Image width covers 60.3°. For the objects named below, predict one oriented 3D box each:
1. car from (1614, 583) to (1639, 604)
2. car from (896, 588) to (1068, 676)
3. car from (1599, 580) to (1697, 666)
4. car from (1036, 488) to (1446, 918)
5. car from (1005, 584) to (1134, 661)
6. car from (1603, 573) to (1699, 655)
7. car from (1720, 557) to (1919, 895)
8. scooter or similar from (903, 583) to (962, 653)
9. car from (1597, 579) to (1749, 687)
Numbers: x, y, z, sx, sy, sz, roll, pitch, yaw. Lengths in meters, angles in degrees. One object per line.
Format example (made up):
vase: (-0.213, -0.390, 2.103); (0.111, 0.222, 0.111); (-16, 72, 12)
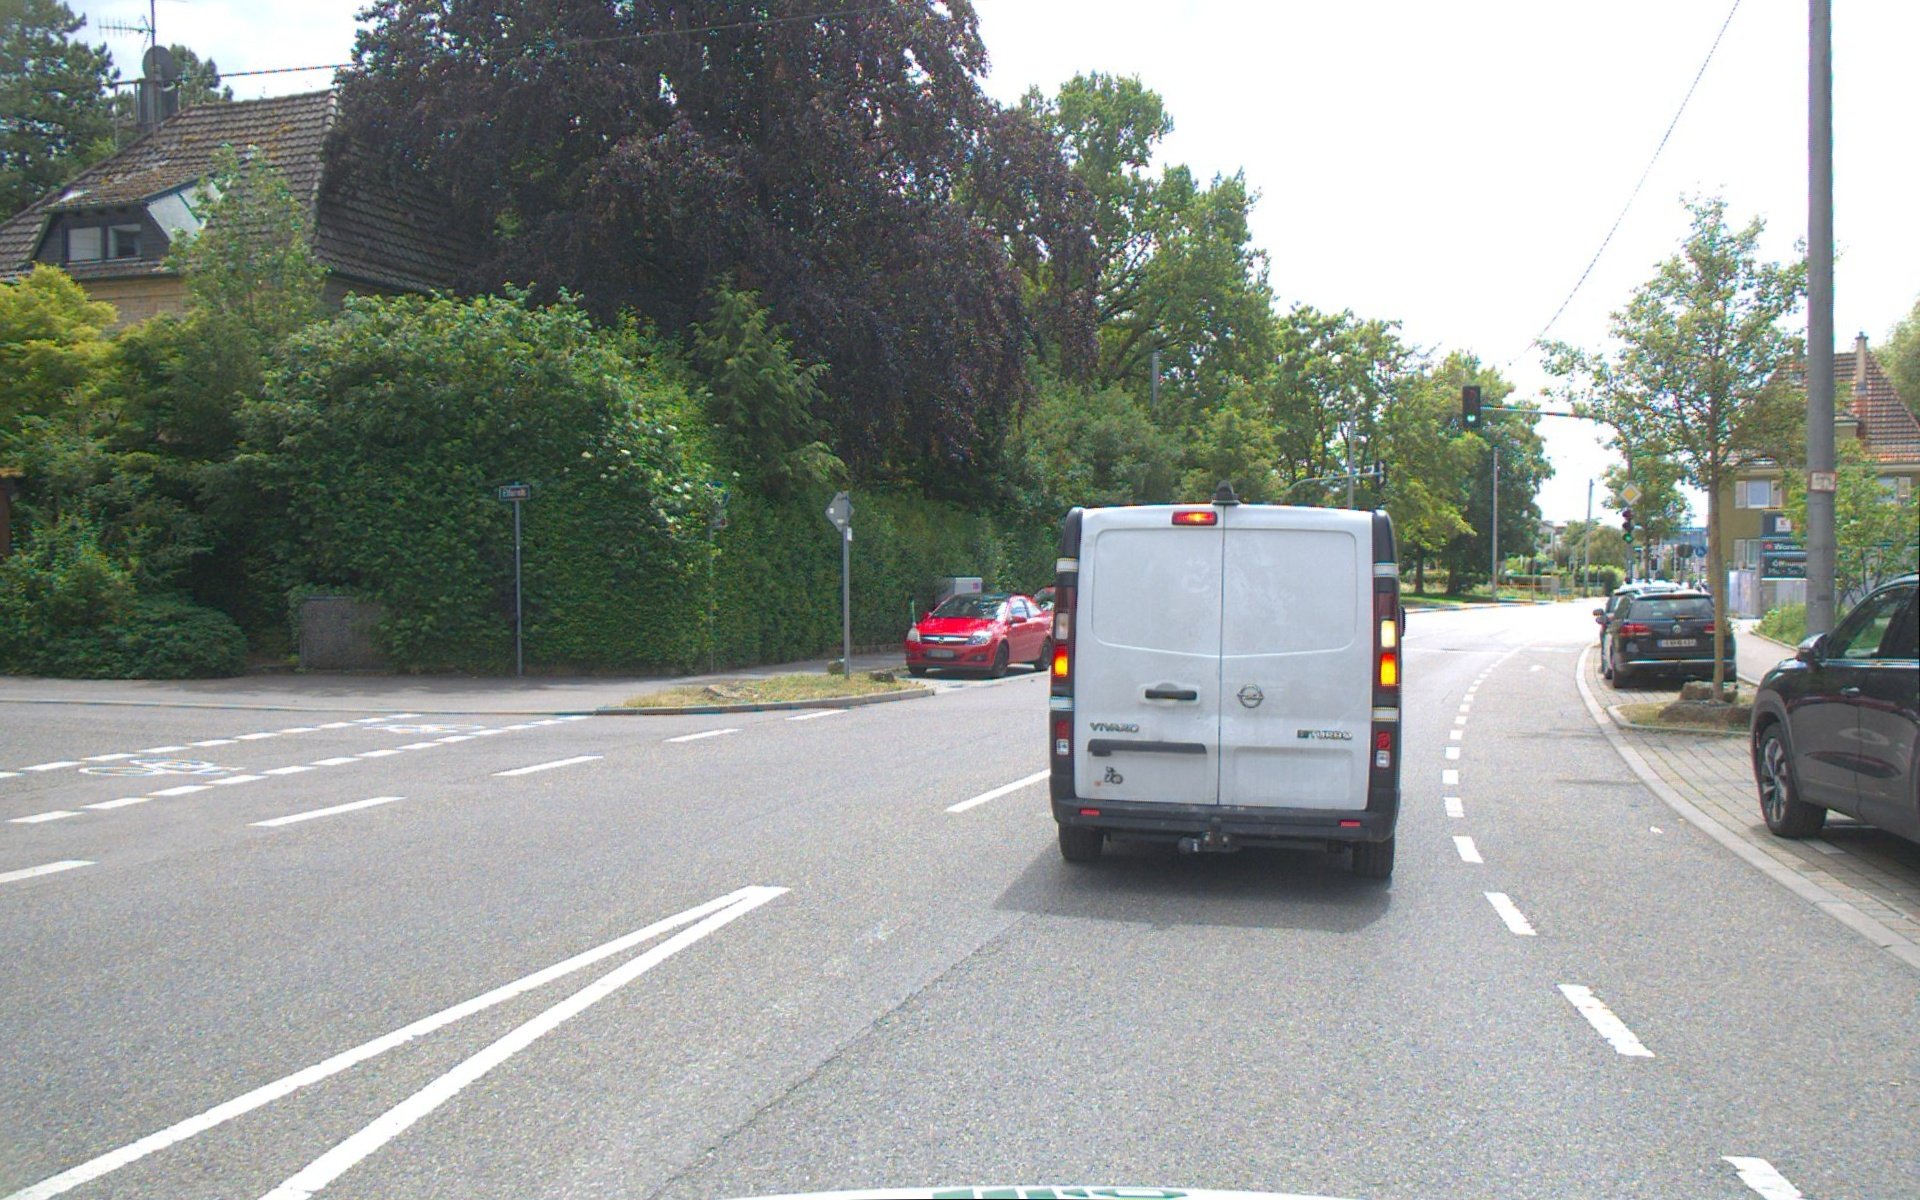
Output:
car: (53.273, -0.528, 132.300); (1.795, 1.645, 4.152); (-1, 1, 21)
car: (0.497, 0.508, 29.608); (1.626, 1.402, 4.567); (1, 1, 20)
car: (12.945, 0.401, 31.268); (1.536, 1.519, 4.001); (-1, 0, 21)
car: (1.817, 0.438, 10.385); (1.897, 1.994, 4.838); (2, 1, 11)
car: (2.350, 0.426, 34.581); (1.615, 1.476, 4.106); (1, 1, 20)
car: (15.161, 0.281, 36.442); (1.701, 1.644, 4.387); (-2, -1, 20)
car: (5.755, 0.584, 8.912); (1.838, 1.650, 4.851); (-1, 0, 10)
scooter or similar: (-0.577, 0.365, 35.296); (0.656, 1.436, 1.649); (1, 1, 22)
car: (11.308, 0.471, 26.512); (1.728, 1.503, 4.938); (-3, 0, 18)
